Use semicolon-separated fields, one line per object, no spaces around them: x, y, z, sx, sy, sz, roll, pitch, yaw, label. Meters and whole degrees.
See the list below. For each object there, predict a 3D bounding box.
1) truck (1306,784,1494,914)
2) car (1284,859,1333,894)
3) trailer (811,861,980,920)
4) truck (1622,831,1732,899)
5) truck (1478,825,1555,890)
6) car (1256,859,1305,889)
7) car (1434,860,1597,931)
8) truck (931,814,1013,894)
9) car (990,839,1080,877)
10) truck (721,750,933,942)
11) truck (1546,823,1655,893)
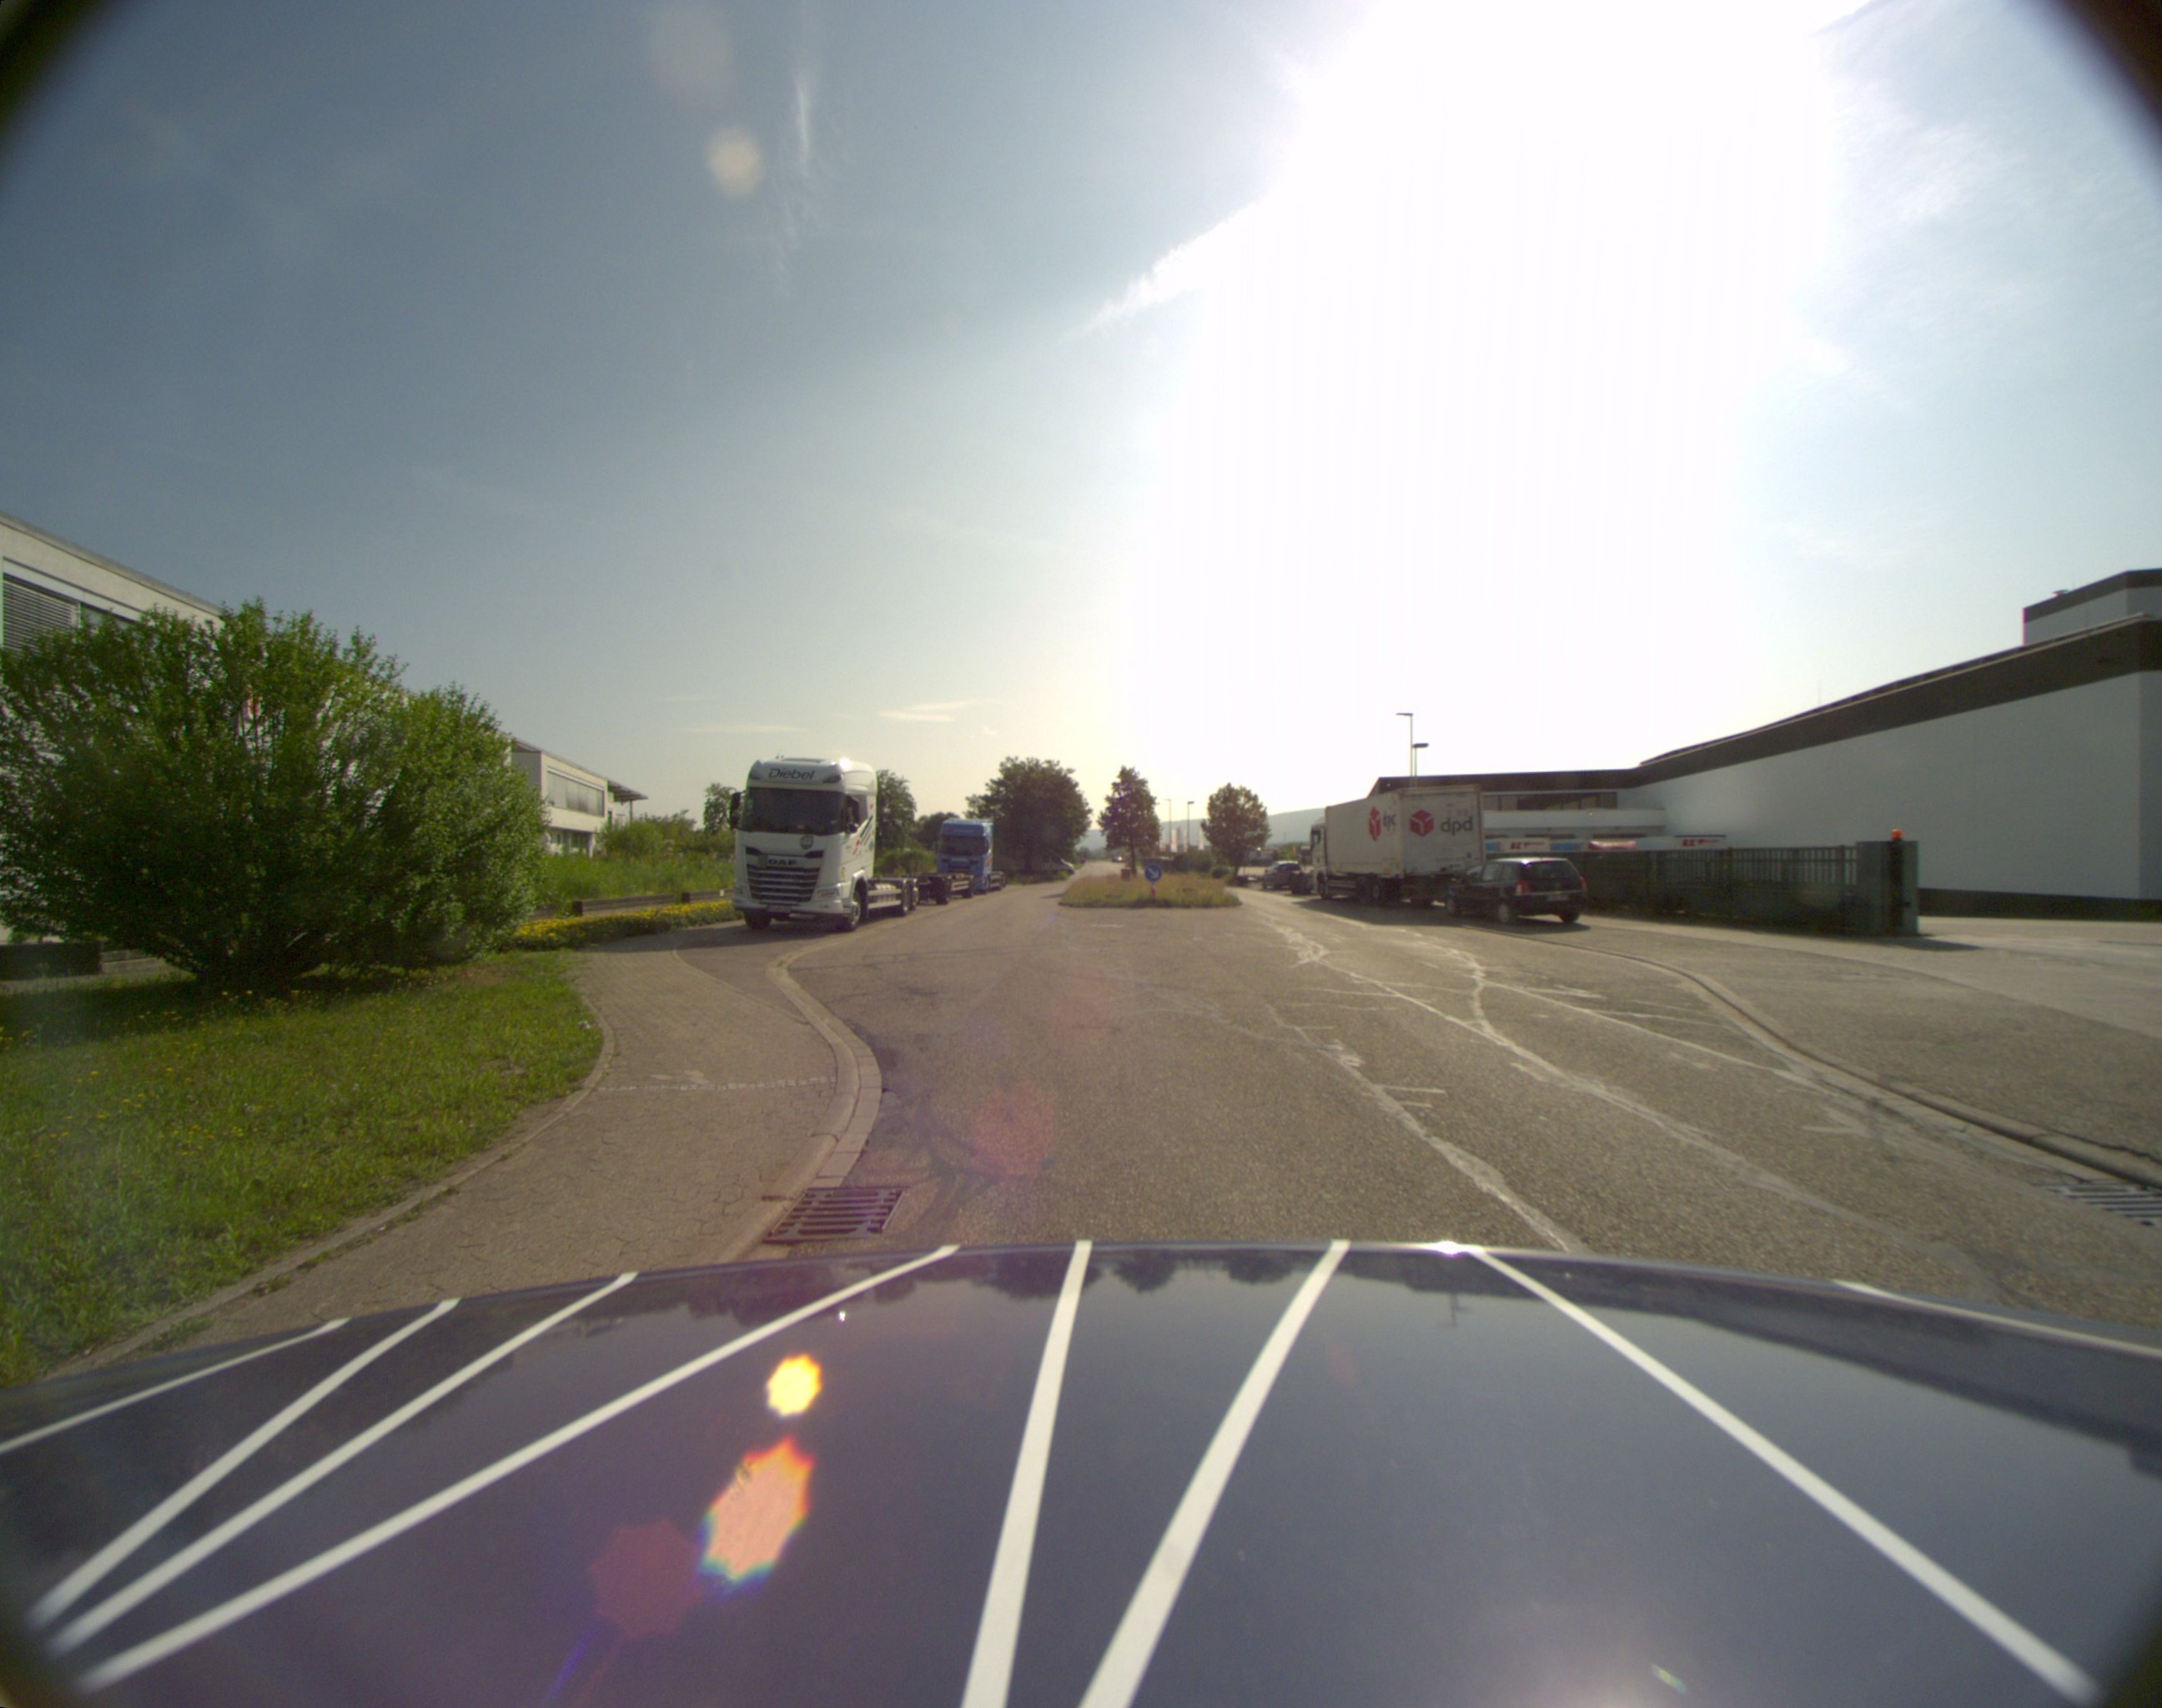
11.205;-0.138;28.176;2.783;3.831;10.063;-3;0;1;truck
11.034;1.054;36.995;1.441;1.597;3.168;-2;0;1;car
-6.082;1.079;28.181;2.553;1.383;14.136;2;0;1;trailer
38.899;0.638;50.052;2.903;4.032;9.253;0;0;20;truck
30.008;0.230;52.806;3.034;4.112;9.253;0;0;20;truck
11.303;1.088;43.305;1.735;1.573;3.967;-2;0;1;car
11.004;0.969;19.628;1.767;1.583;4.193;-2;0;0;car
-5.789;0.017;42.385;3.043;3.916;10.578;0;0;0;truck
-4.317;0.345;71.300;8.151;3.217;2.663;-2;0;-4;car
-6.193;-0.174;20.301;2.559;3.958;8.581;2;0;1;truck
33.712;0.260;49.945;2.784;4.021;12.372;0;0;20;truck
